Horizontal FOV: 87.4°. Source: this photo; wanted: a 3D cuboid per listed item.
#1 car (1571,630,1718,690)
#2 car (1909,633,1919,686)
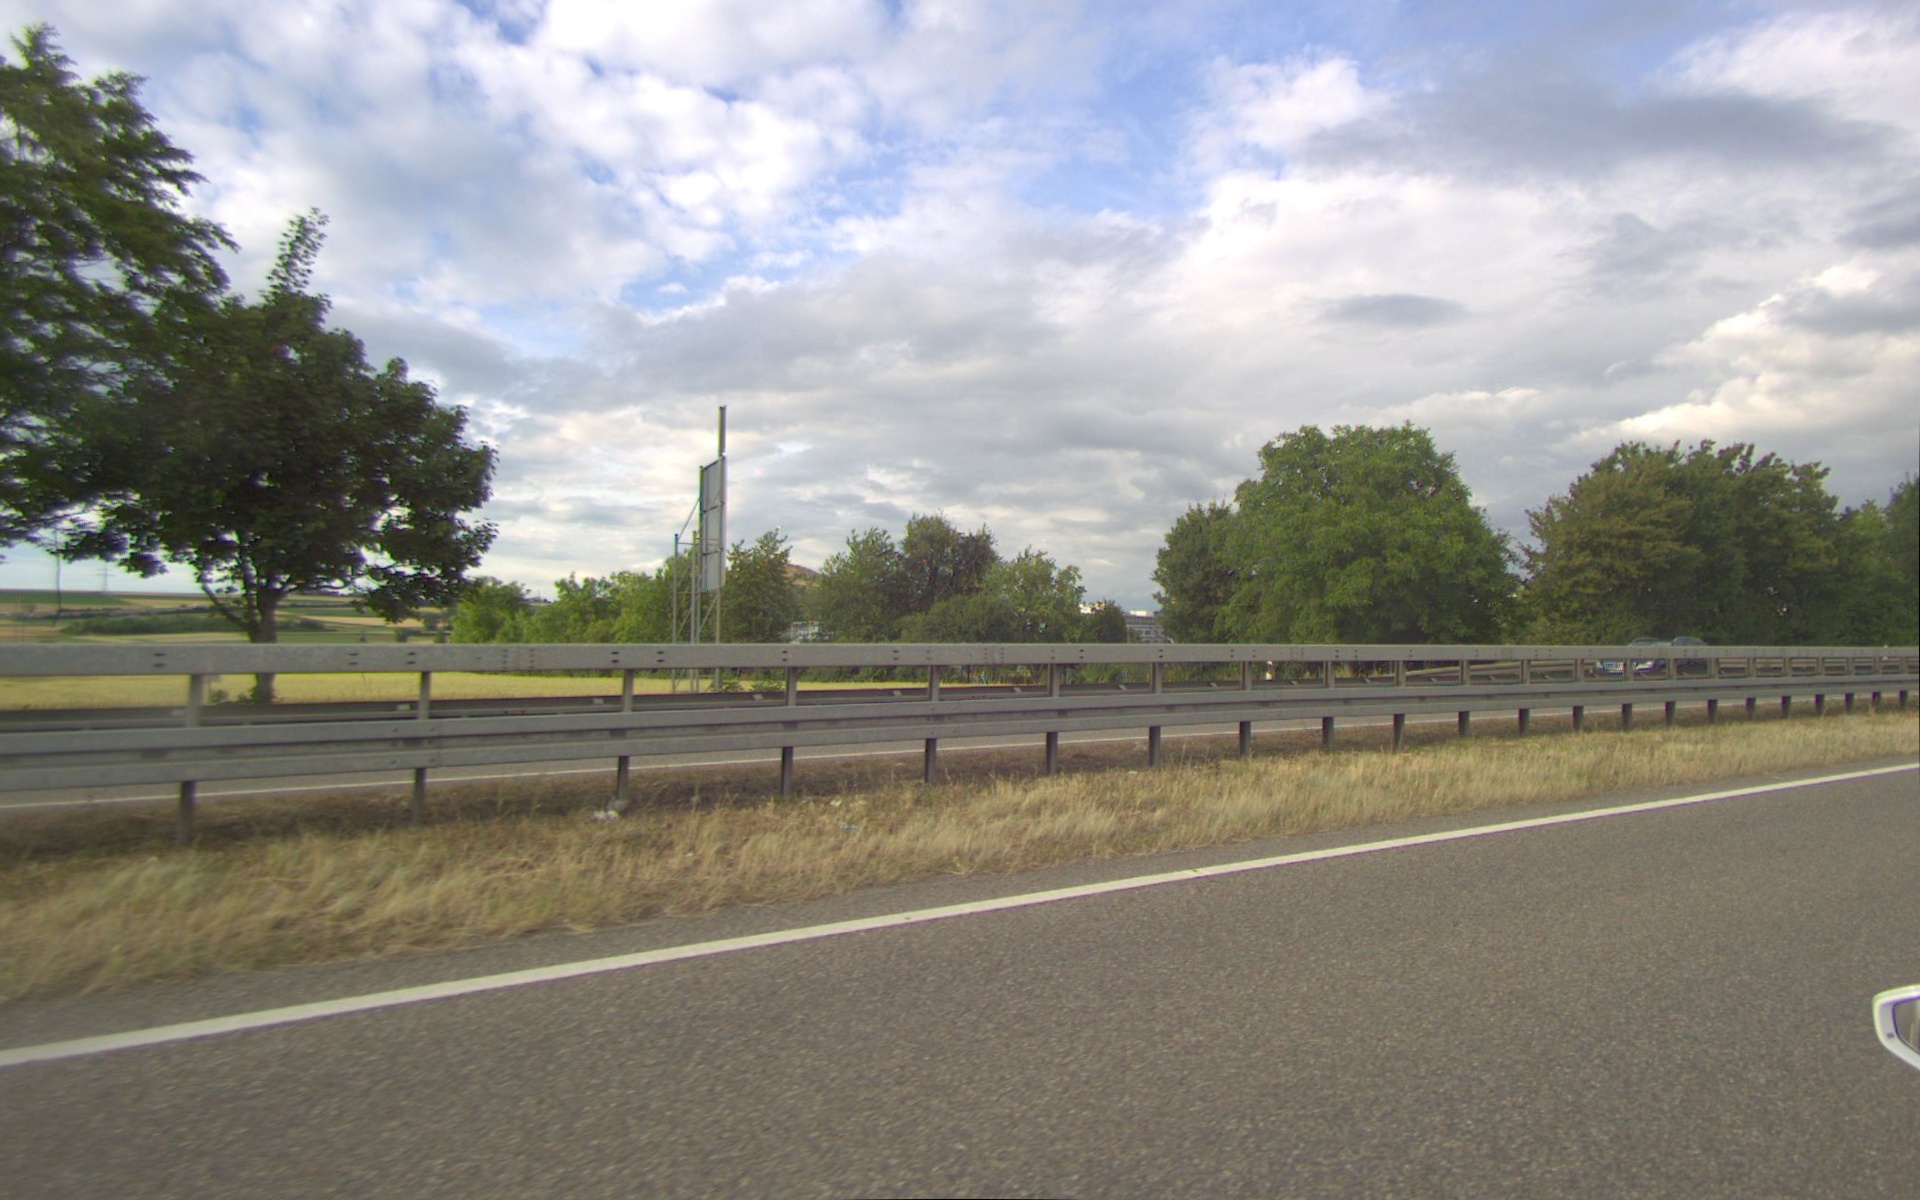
[{"bbox_3d":[20.181,1.737,29.603,4.429,1.647,1.790,1,-2,-29],"label":"car"},{"bbox_3d":[32.168,1.874,31.825,4.429,1.647,1.790,1,-2,-29],"label":"car"}]
